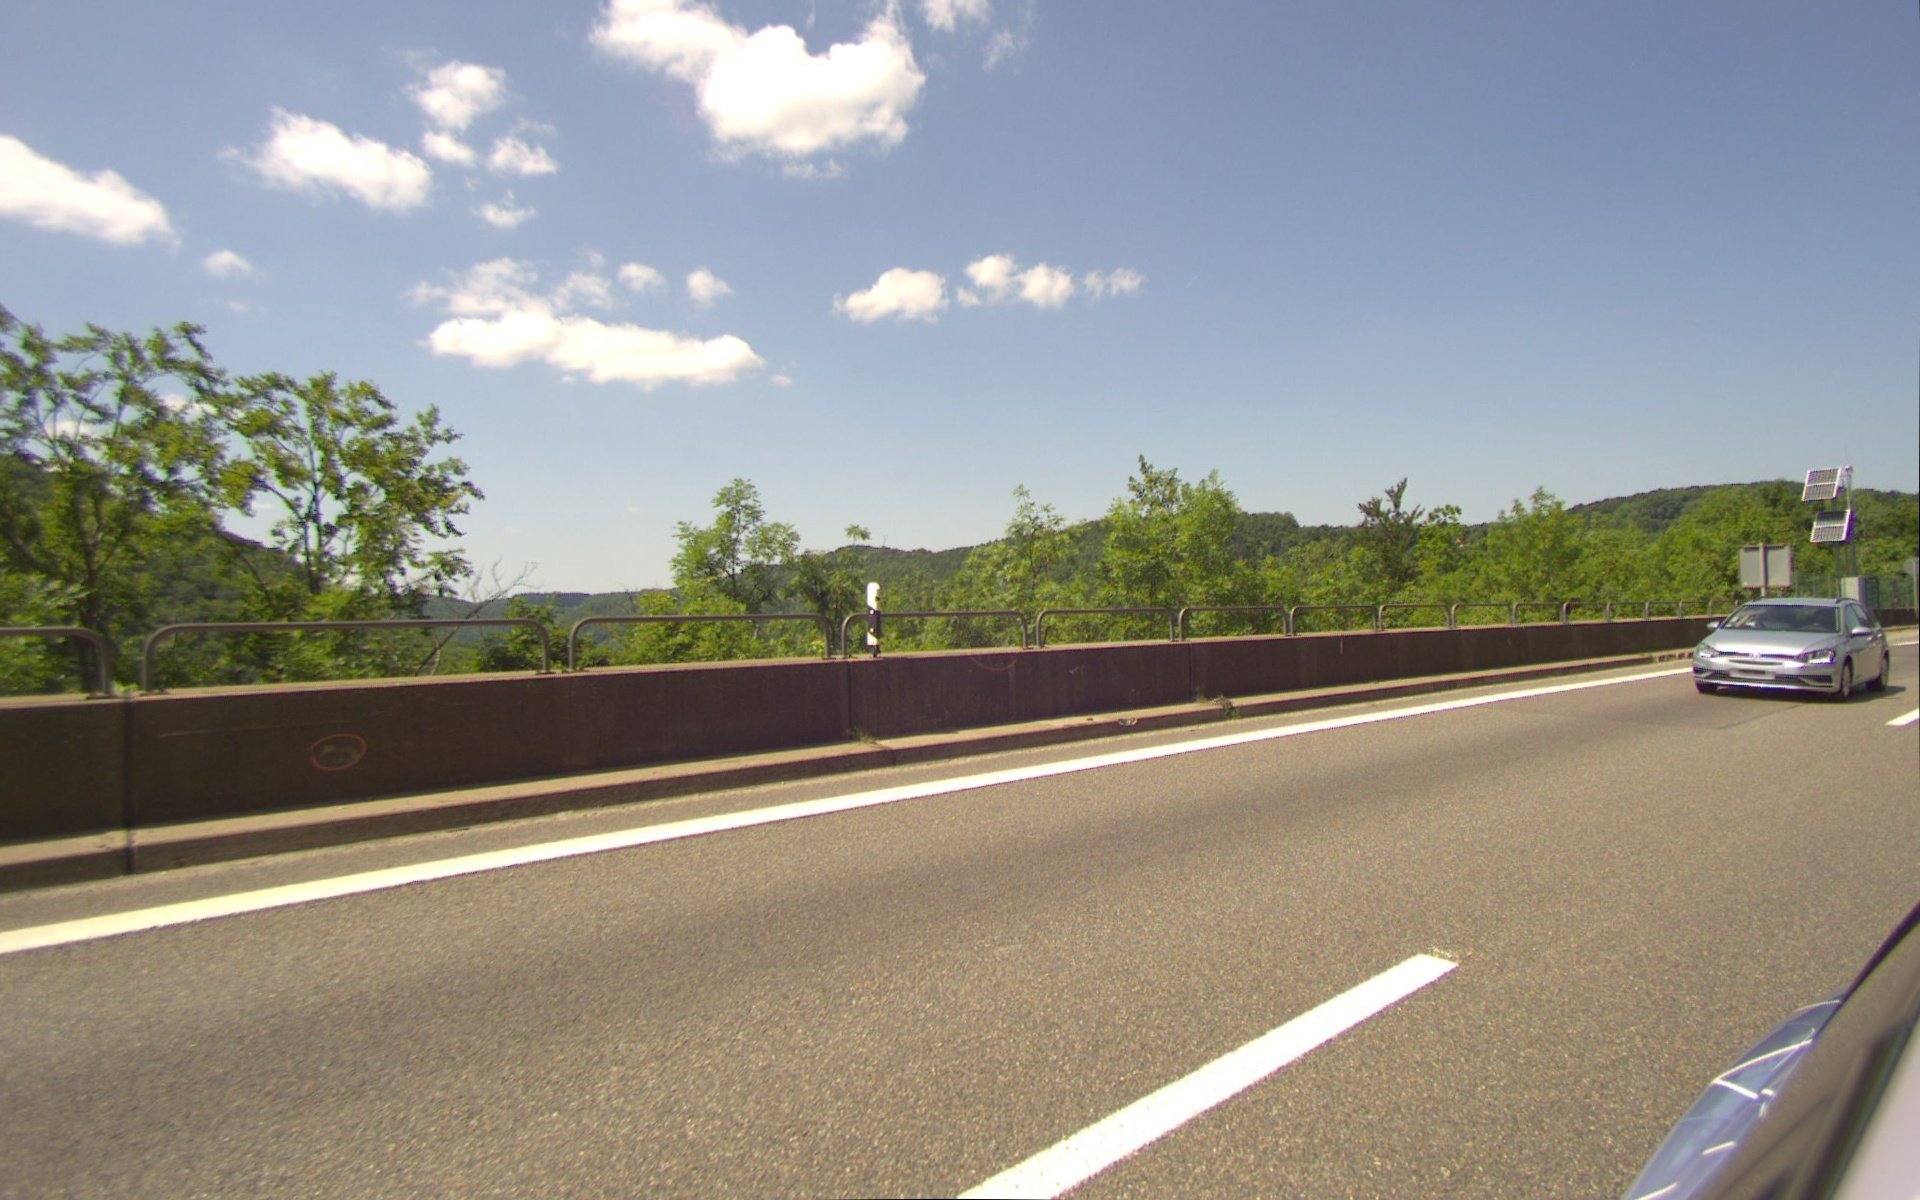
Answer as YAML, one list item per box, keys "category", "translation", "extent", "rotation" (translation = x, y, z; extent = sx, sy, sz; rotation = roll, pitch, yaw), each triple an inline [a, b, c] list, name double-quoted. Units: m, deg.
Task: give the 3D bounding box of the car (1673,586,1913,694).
- category: "car"
  translation: [12.915, 0.507, 15.621]
  extent: [4.215, 1.395, 1.973]
  rotation: [-1, 1, -38]
